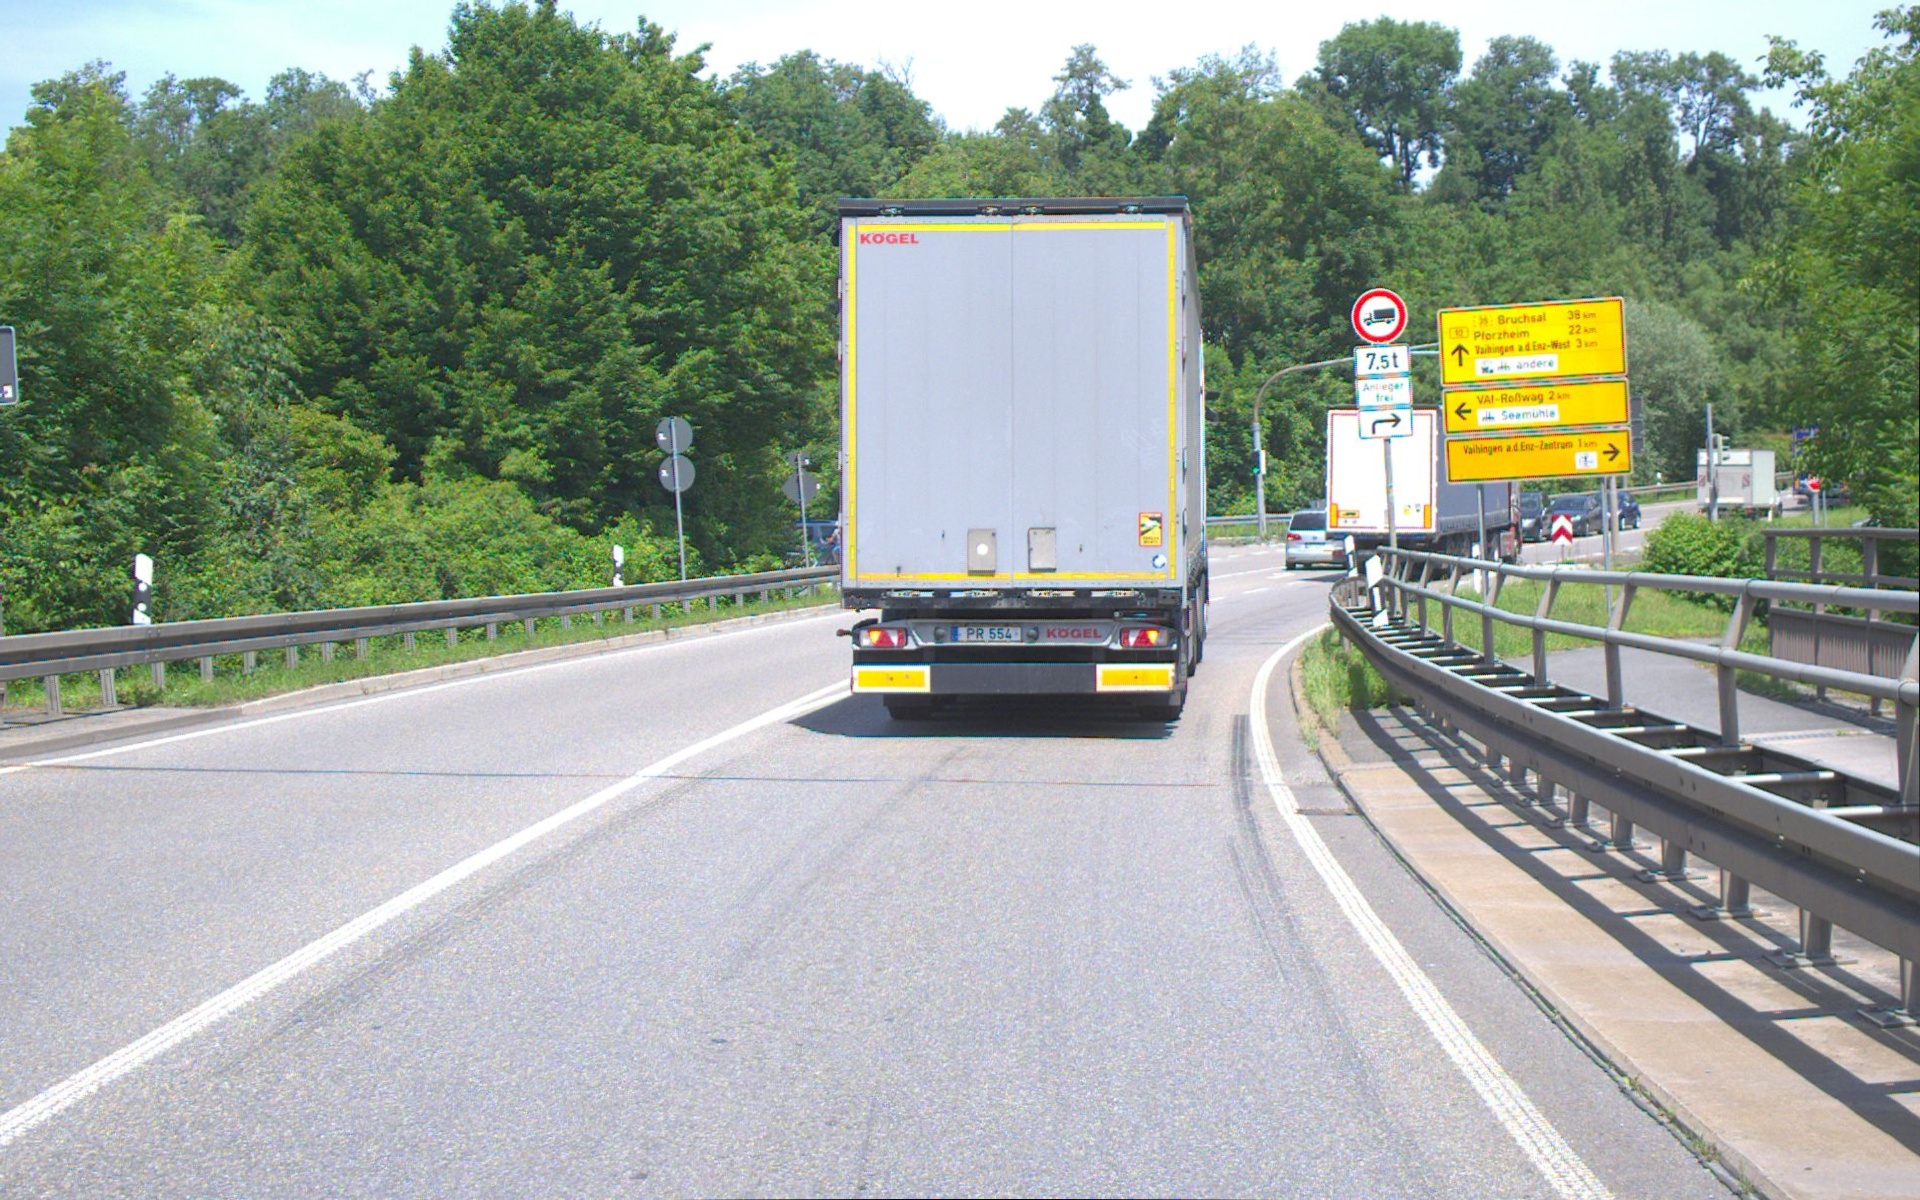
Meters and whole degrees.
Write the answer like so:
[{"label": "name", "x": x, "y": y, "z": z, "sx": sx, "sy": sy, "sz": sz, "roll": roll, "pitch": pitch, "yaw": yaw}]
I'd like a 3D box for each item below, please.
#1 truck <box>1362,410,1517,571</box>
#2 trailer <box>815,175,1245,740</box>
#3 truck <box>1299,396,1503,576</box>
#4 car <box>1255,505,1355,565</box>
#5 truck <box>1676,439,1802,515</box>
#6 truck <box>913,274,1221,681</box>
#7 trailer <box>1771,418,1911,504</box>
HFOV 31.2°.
[{"label": "truck", "x": 12.407, "y": -2.760, "z": 88.617, "sx": 3.171, "sy": 3.990, "sz": 5.811, "roll": 0, "pitch": 1, "yaw": 16}, {"label": "trailer", "x": 0.869, "y": -1.142, "z": 30.945, "sx": 3.052, "sy": 4.020, "sz": 12.558, "roll": 0, "pitch": 1, "yaw": 3}, {"label": "truck", "x": 10.796, "y": -2.656, "z": 82.973, "sx": 3.181, "sy": 4.015, "sz": 11.736, "roll": 0, "pitch": 1, "yaw": 16}, {"label": "car", "x": 9.193, "y": -1.721, "z": 91.454, "sx": 1.995, "sy": 1.514, "sz": 3.997, "roll": 1, "pitch": 0, "yaw": 15}, {"label": "truck", "x": 30.860, "y": -4.866, "z": 136.046, "sx": 2.860, "sy": 2.937, "sz": 7.093, "roll": 1, "pitch": 2, "yaw": 30}, {"label": "truck", "x": 1.260, "y": -1.283, "z": 37.520, "sx": 3.038, "sy": 4.020, "sz": 6.629, "roll": 0, "pitch": 1, "yaw": 3}, {"label": "trailer", "x": 39.039, "y": -6.120, "z": 152.086, "sx": 3.257, "sy": 3.672, "sz": 9.234, "roll": 1, "pitch": 2, "yaw": 33}]
